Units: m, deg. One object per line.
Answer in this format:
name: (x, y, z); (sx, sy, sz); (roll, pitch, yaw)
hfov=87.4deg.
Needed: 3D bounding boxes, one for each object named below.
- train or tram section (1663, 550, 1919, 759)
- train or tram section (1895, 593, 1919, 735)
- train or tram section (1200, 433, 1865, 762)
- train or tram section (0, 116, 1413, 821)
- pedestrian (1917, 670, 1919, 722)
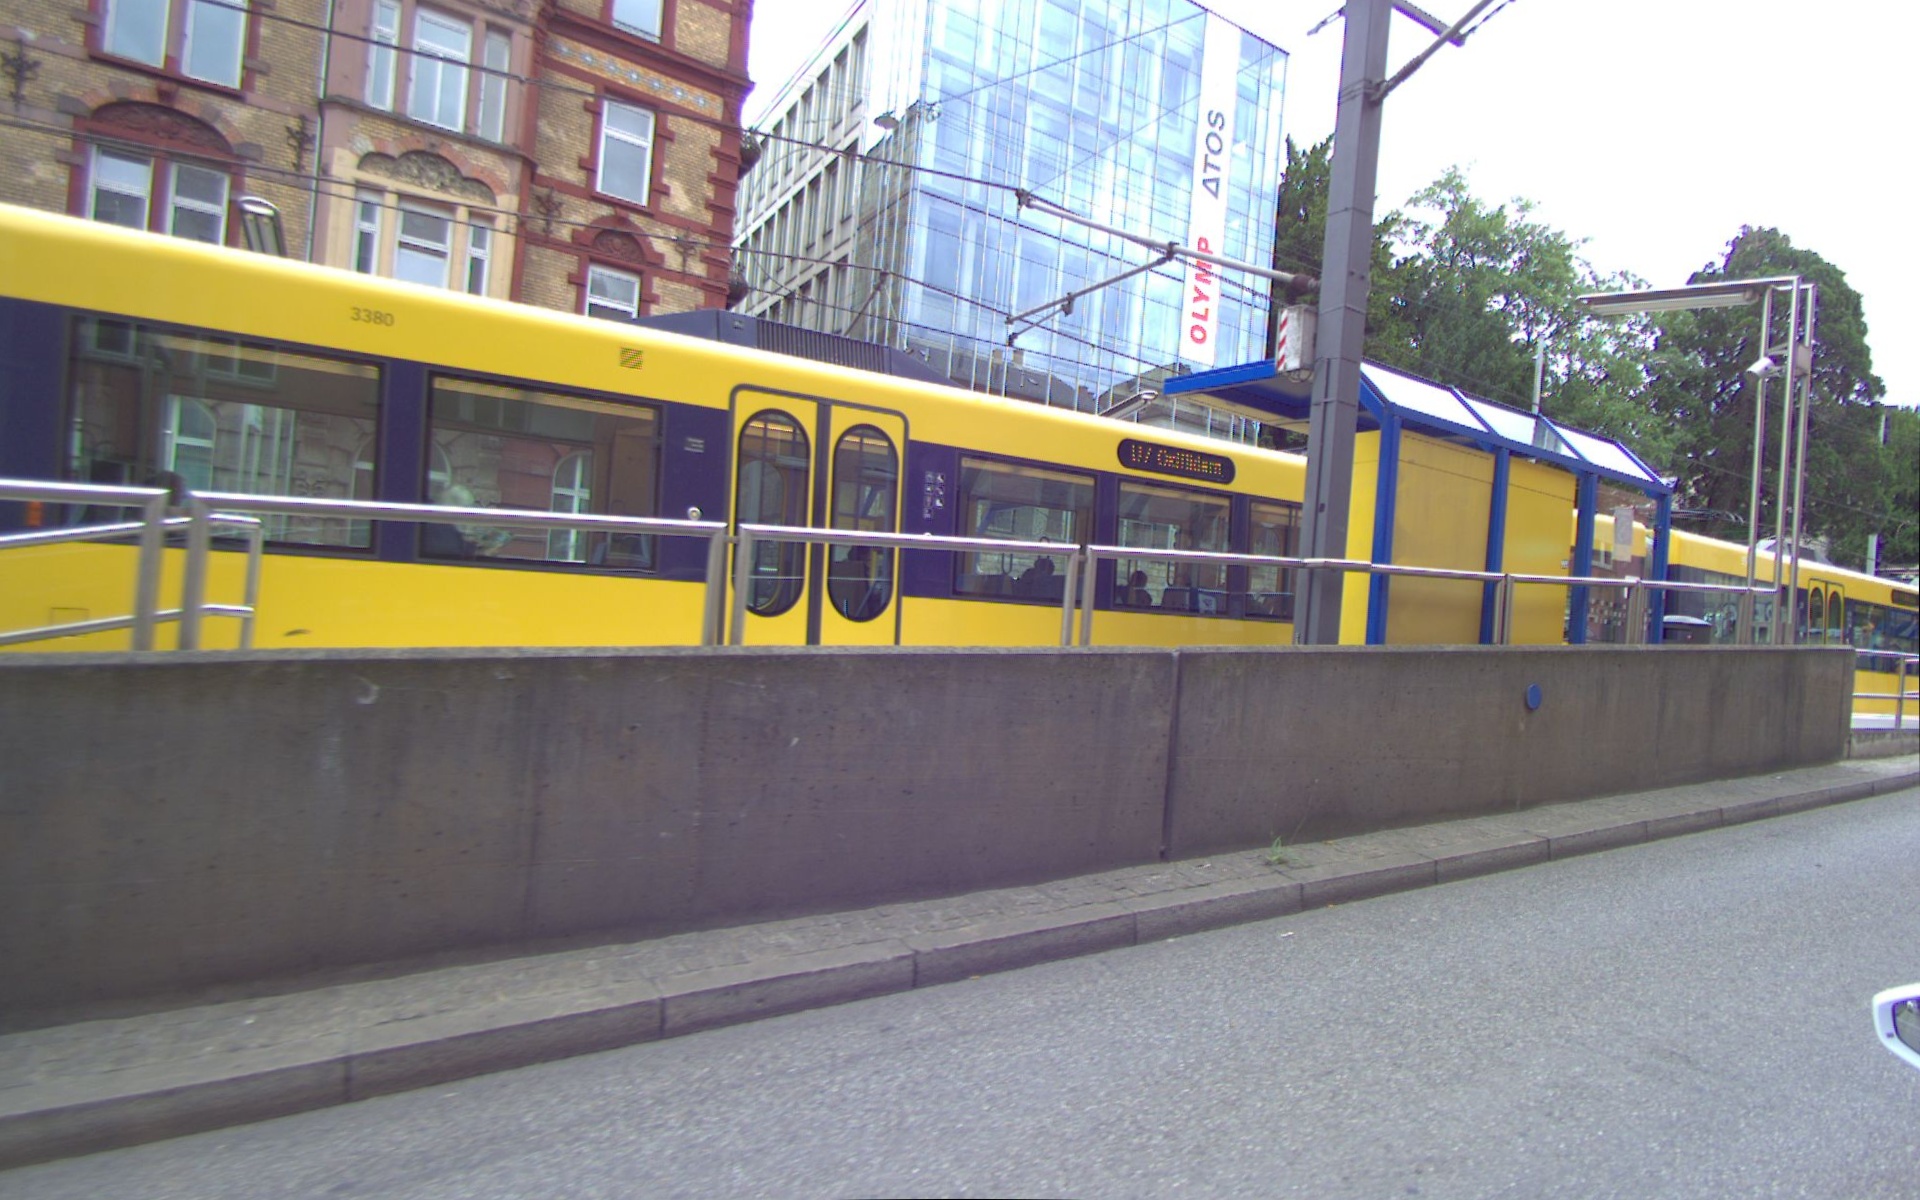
train or tram section: (19.600, 1.249, 21.328); (12.081, 3.529, 2.934); (4, -1, -31)
train or tram section: (30.218, 1.926, 27.773); (12.839, 3.555, 2.934); (3, -1, -31)
train or tram section: (9.197, 0.427, 15.080); (12.080, 3.516, 2.935); (5, -2, -30)
train or tram section: (-1.182, -0.363, 9.048); (12.256, 3.589, 2.935); (4, -1, -30)
pedestrian: (13.871, 0.817, 13.794); (0.809, 1.801, 0.796); (1, 1, -30)
